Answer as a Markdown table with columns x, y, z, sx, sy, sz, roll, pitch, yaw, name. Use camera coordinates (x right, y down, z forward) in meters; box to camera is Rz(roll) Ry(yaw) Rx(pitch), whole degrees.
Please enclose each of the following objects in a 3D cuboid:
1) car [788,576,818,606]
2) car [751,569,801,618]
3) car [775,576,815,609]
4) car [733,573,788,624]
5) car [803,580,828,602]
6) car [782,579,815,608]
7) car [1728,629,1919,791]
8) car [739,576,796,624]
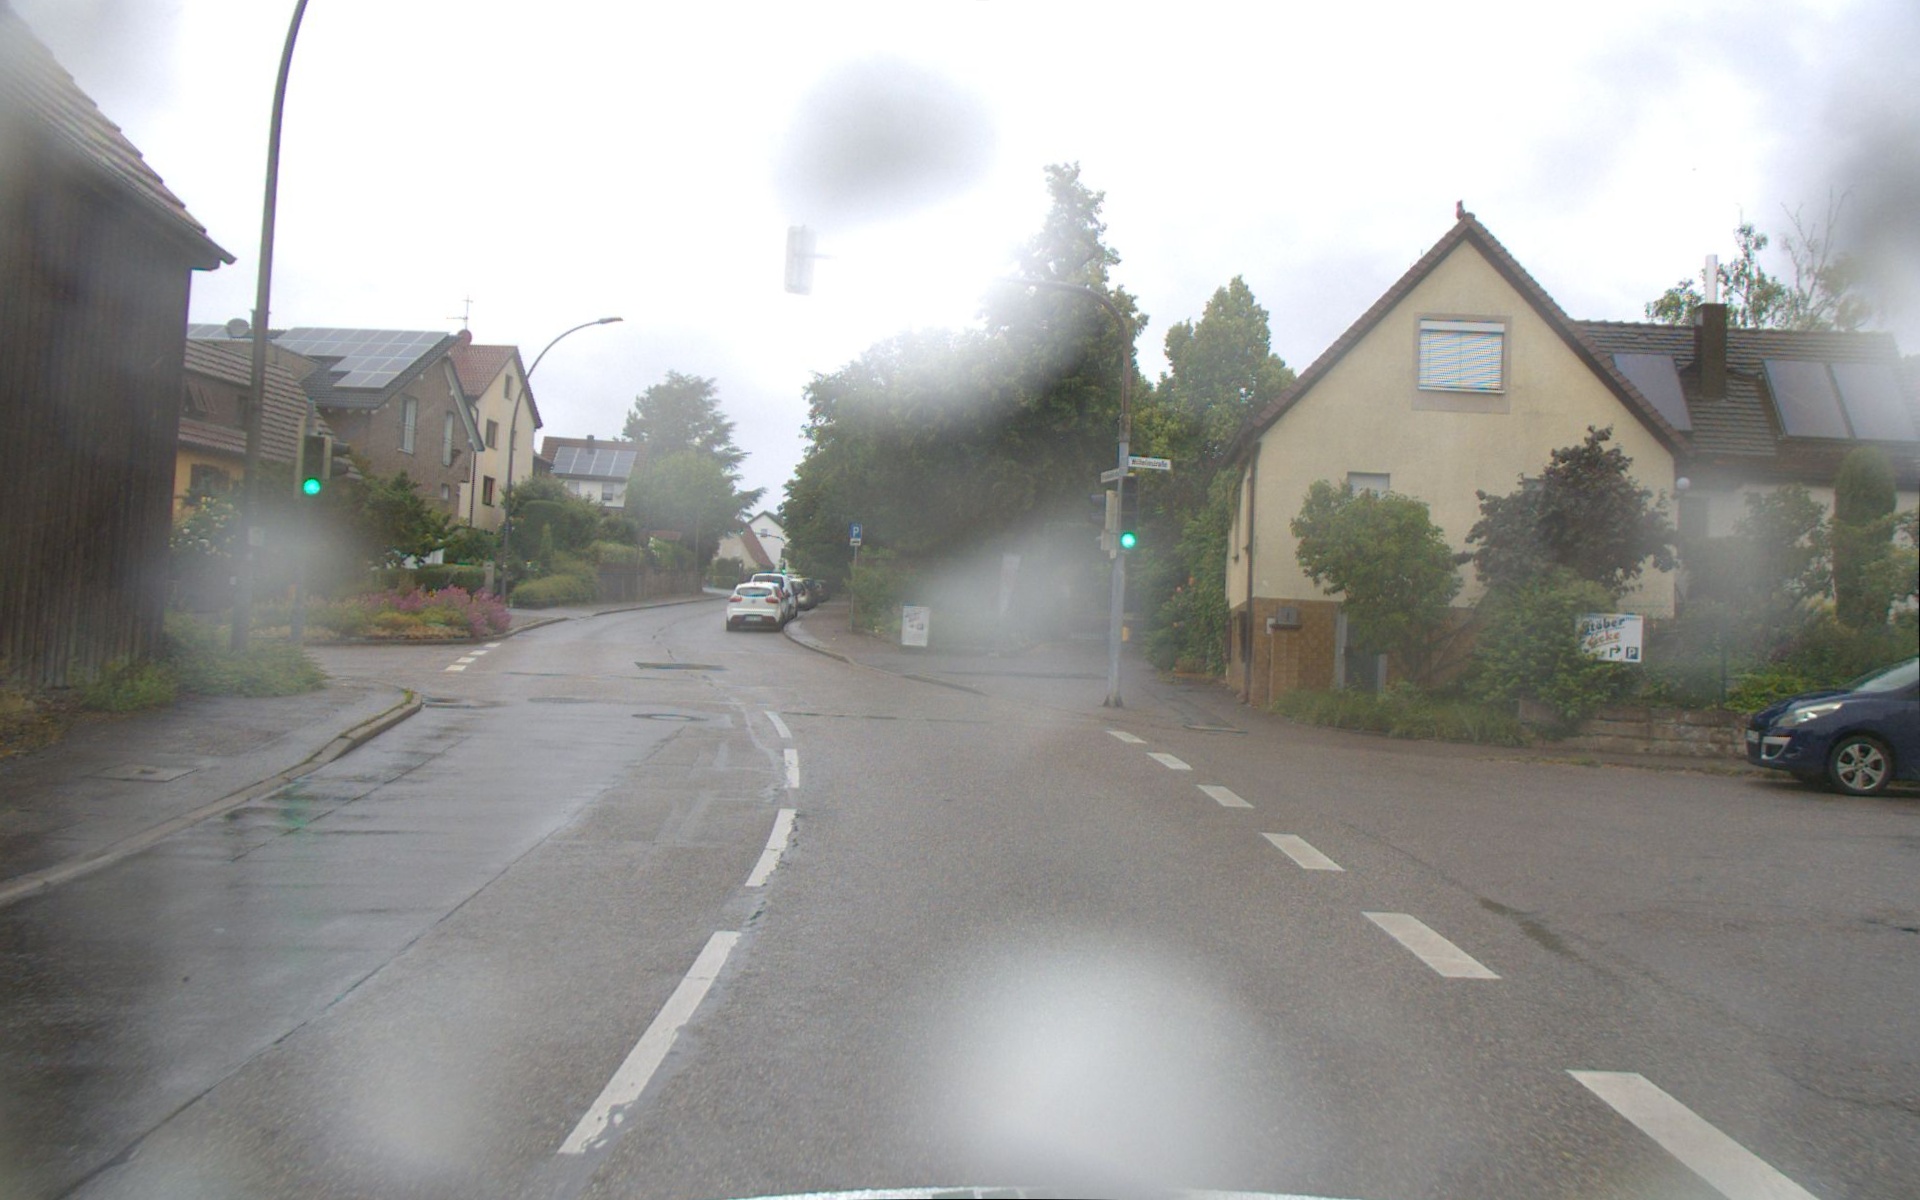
| x | y | z | sx | sy | sz | roll | pitch | yaw | name |
| --- | --- | --- | --- | --- | --- | --- | --- | --- | --- |
| -9.319 | -0.542 | 98.247 | 1.708 | 1.697 | 4.492 | 2 | 0 | -5 | car |
| -7.094 | -0.261 | 63.999 | 1.604 | 1.771 | 4.133 | 2 | 0 | -3 | car |
| -8.529 | -0.358 | 85.750 | 1.778 | 1.601 | 3.879 | 2 | 0 | -2 | car |
| -6.368 | -0.065 | 53.125 | 1.580 | 1.506 | 4.034 | 3 | 0 | -5 | car |
| -9.801 | -0.593 | 111.994 | 1.620 | 1.395 | 4.177 | 2 | 0 | -5 | car |
| -8.942 | -0.354 | 91.851 | 1.730 | 1.472 | 4.691 | 2 | 0 | -5 | car |
| 10.776 | 1.234 | 17.973 | 4.044 | 1.613 | 1.866 | 3 | -1 | 12 | car |
| -6.751 | -0.032 | 58.244 | 1.613 | 1.487 | 3.999 | 3 | 1 | -2 | car |
